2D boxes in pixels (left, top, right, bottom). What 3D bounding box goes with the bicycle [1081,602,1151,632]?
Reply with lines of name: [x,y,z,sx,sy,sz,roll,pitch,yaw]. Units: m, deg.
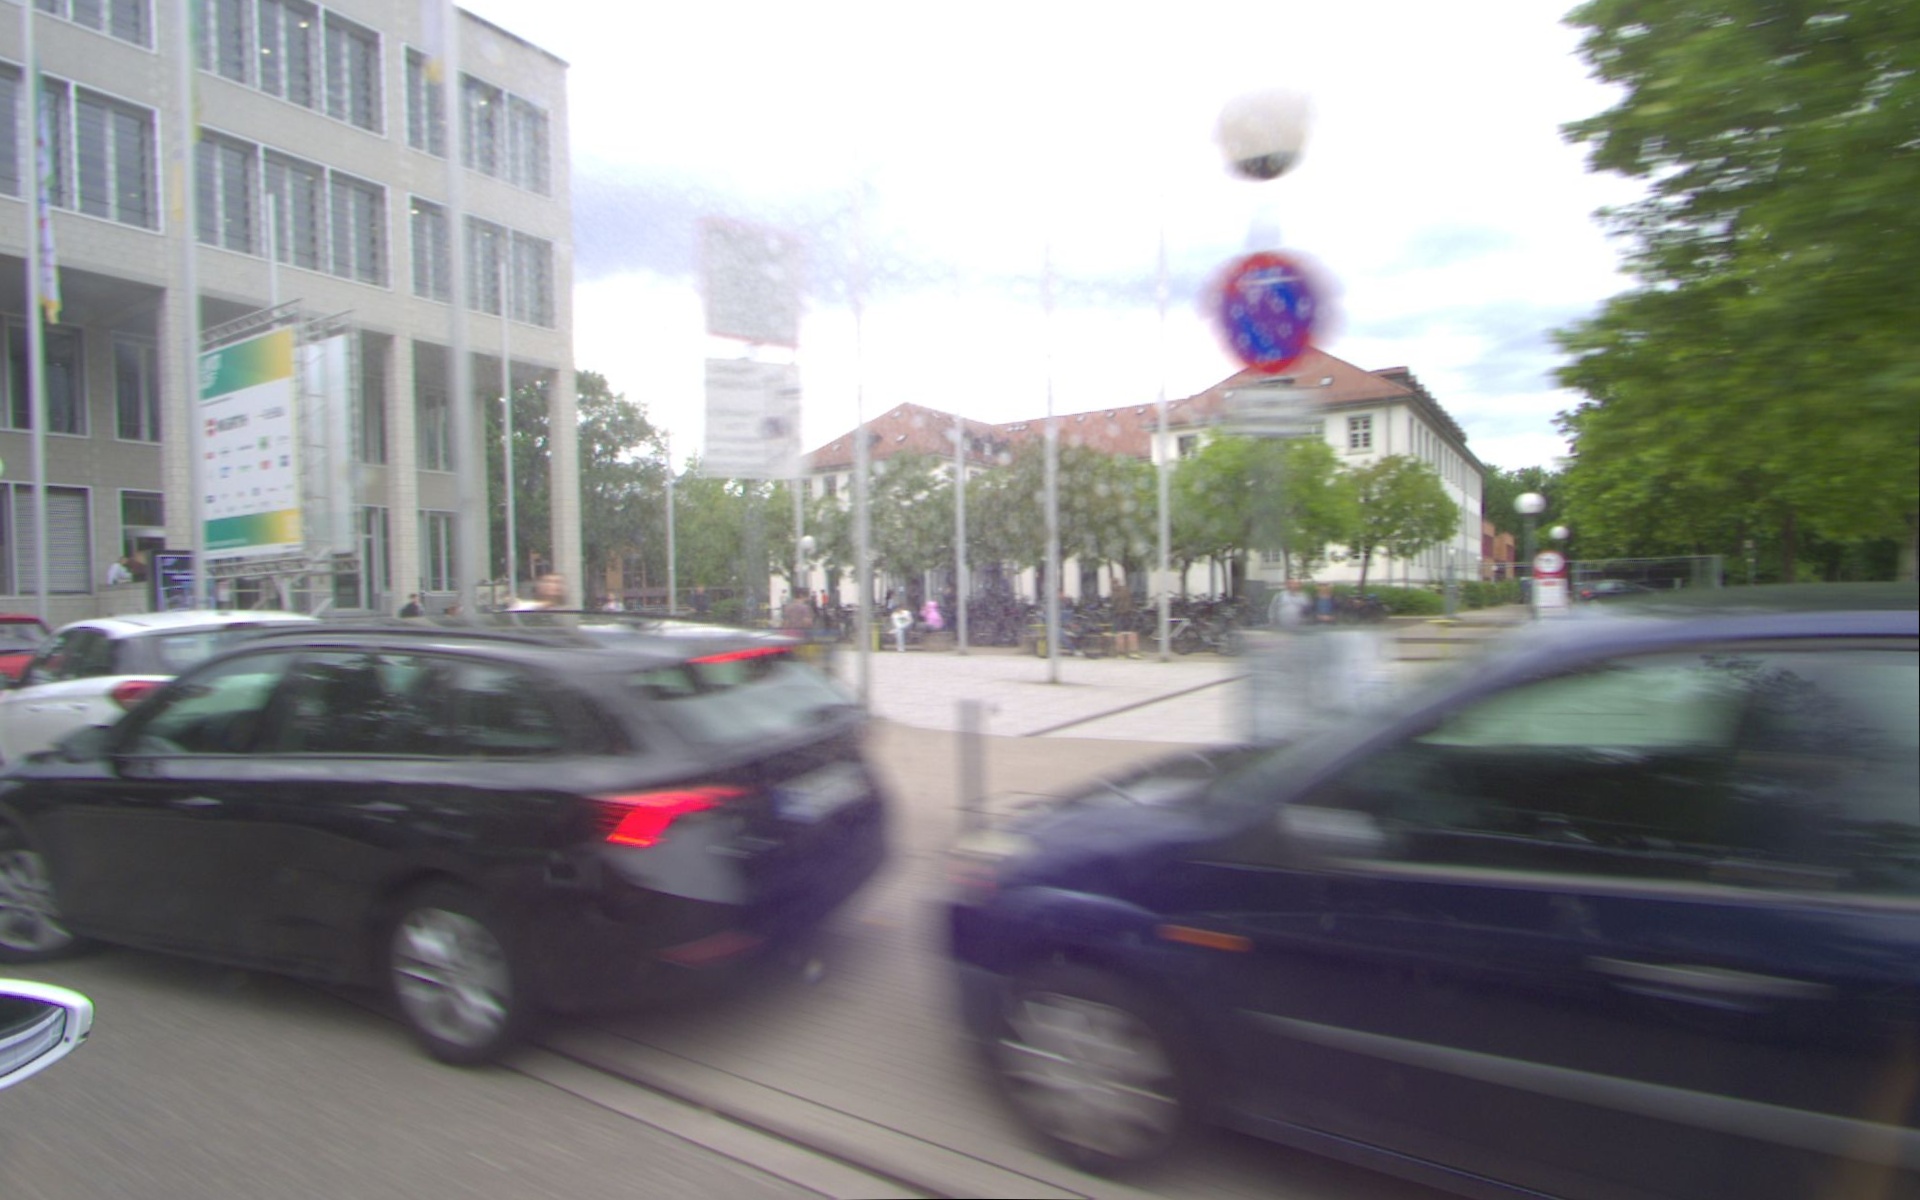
bicycle: [6.951,0.745,44.739,3.064,1.186,0.743,2,1,34]

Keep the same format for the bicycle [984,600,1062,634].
bicycle: [2.410,0.655,38.716,3.064,1.186,0.743,2,1,34]

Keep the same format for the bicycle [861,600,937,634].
bicycle: [-2.337,0.627,38.041,3.065,1.186,0.743,2,1,35]

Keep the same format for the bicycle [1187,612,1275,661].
bicycle: [6.189,0.819,22.897,1.906,1.063,0.455,0,2,29]

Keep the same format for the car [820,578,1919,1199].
car: [1.745,0.749,2.440,4.049,1.522,1.617,-2,2,34]

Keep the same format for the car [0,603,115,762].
car: [-11.034,0.833,10.823,4.214,1.494,1.707,0,3,33]

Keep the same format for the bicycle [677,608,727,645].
bicycle: [-8.028,0.815,31.137,0.866,1.108,1.786,-1,1,-39]

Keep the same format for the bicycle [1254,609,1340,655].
bicycle: [8.073,0.765,24.047,1.906,1.063,0.455,0,2,29]

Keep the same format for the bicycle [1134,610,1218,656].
bicycle: [5.133,0.784,23.800,1.901,1.064,0.456,0,2,19]

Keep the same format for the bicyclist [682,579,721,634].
bicyclist: [-8.034,0.202,31.116,0.866,1.663,0.861,-1,1,-39]

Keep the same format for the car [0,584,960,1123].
car: [-2.398,0.714,4.433,4.403,1.421,1.860,-1,3,23]

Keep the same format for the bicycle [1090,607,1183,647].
bicycle: [5.925,0.886,33.772,3.065,1.186,0.743,2,1,35]

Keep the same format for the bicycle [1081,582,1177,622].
bicycle: [5.487,0.056,32.690,3.065,1.186,0.743,2,1,35]

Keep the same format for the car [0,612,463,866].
car: [-5.823,0.861,7.759,3.805,1.472,1.856,-1,0,33]

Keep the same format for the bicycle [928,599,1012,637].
bicycle: [0.342,0.619,35.279,3.065,1.186,0.743,2,1,35]

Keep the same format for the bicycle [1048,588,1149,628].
bicycle: [4.244,0.262,30.868,3.066,1.185,0.743,-1,1,35]

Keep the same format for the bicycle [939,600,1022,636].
bicycle: [0.721,0.625,35.946,3.065,1.186,0.743,2,1,35]

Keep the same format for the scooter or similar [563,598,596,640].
scooter or similar: [-12.892,0.623,33.964,0.397,1.388,1.491,2,1,6]

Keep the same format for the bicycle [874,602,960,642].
bicycle: [-1.431,0.686,32.680,3.065,1.186,0.618,2,1,35]

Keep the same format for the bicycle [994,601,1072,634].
bicycle: [2.853,0.664,39.353,3.064,1.186,0.743,2,1,34]

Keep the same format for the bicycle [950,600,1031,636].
bicycle: [1.095,0.632,36.635,3.065,1.186,0.743,2,1,35]

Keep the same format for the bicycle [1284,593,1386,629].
bicycle: [13.792,0.384,36.893,3.351,1.186,1.048,2,1,39]

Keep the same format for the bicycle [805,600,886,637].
bicycle: [-4.035,0.632,35.061,3.065,1.186,0.743,2,1,35]

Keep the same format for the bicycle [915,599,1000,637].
bicycle: [-0.114,0.610,34.649,3.065,1.186,0.743,2,1,35]

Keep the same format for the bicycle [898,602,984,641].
bicycle: [-0.673,0.700,33.923,3.065,1.186,0.743,2,1,35]

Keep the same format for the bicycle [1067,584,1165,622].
bicycle: [4.945,0.109,31.820,3.066,1.185,0.743,-1,1,35]

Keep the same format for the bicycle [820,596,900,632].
bicycle: [-3.588,0.493,35.706,3.065,1.186,0.743,2,1,35]

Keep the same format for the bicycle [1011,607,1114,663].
bicycle: [2.377,0.802,23.336,2.376,1.186,0.455,2,1,29]

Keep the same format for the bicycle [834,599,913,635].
bicycle: [-3.171,0.614,36.369,3.065,1.186,0.743,2,1,35]

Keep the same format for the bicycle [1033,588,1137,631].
bicycle: [3.708,0.264,29.833,3.065,1.186,0.743,2,1,35]

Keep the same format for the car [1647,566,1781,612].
car: [31.268,-0.448,41.666,3.992,1.776,1.997,-1,0,17]

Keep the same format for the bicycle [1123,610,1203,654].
bicycle: [5.054,0.783,24.925,1.901,1.064,0.456,0,2,20]

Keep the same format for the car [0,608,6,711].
car: [-15.502,0.885,14.200,4.311,1.430,1.692,-1,1,30]
